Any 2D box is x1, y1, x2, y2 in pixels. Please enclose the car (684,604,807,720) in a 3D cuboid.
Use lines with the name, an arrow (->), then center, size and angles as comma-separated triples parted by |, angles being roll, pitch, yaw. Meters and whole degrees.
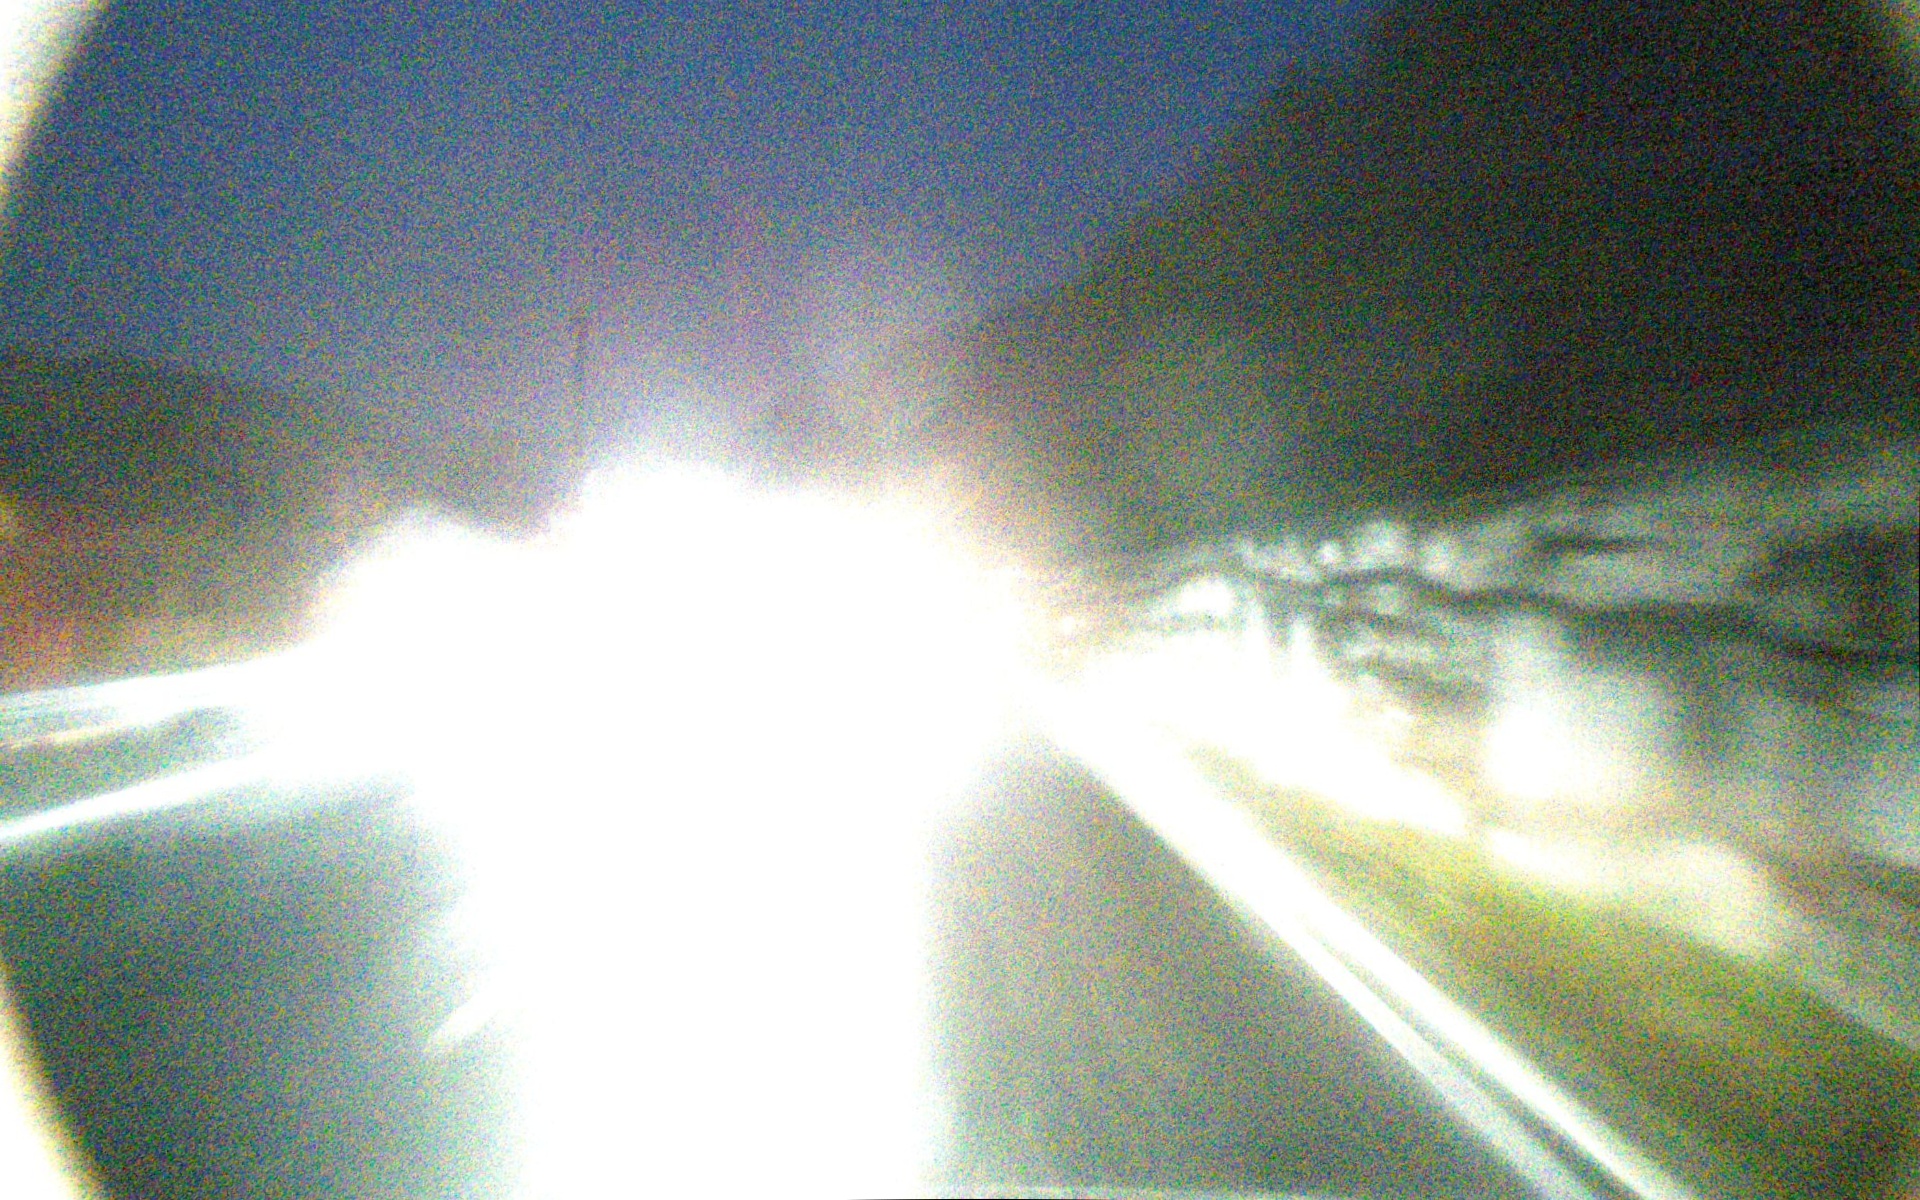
car -> -4.217, 1.211, 33.061 | 1.954, 2.049, 3.997 | 4, -2, -2
